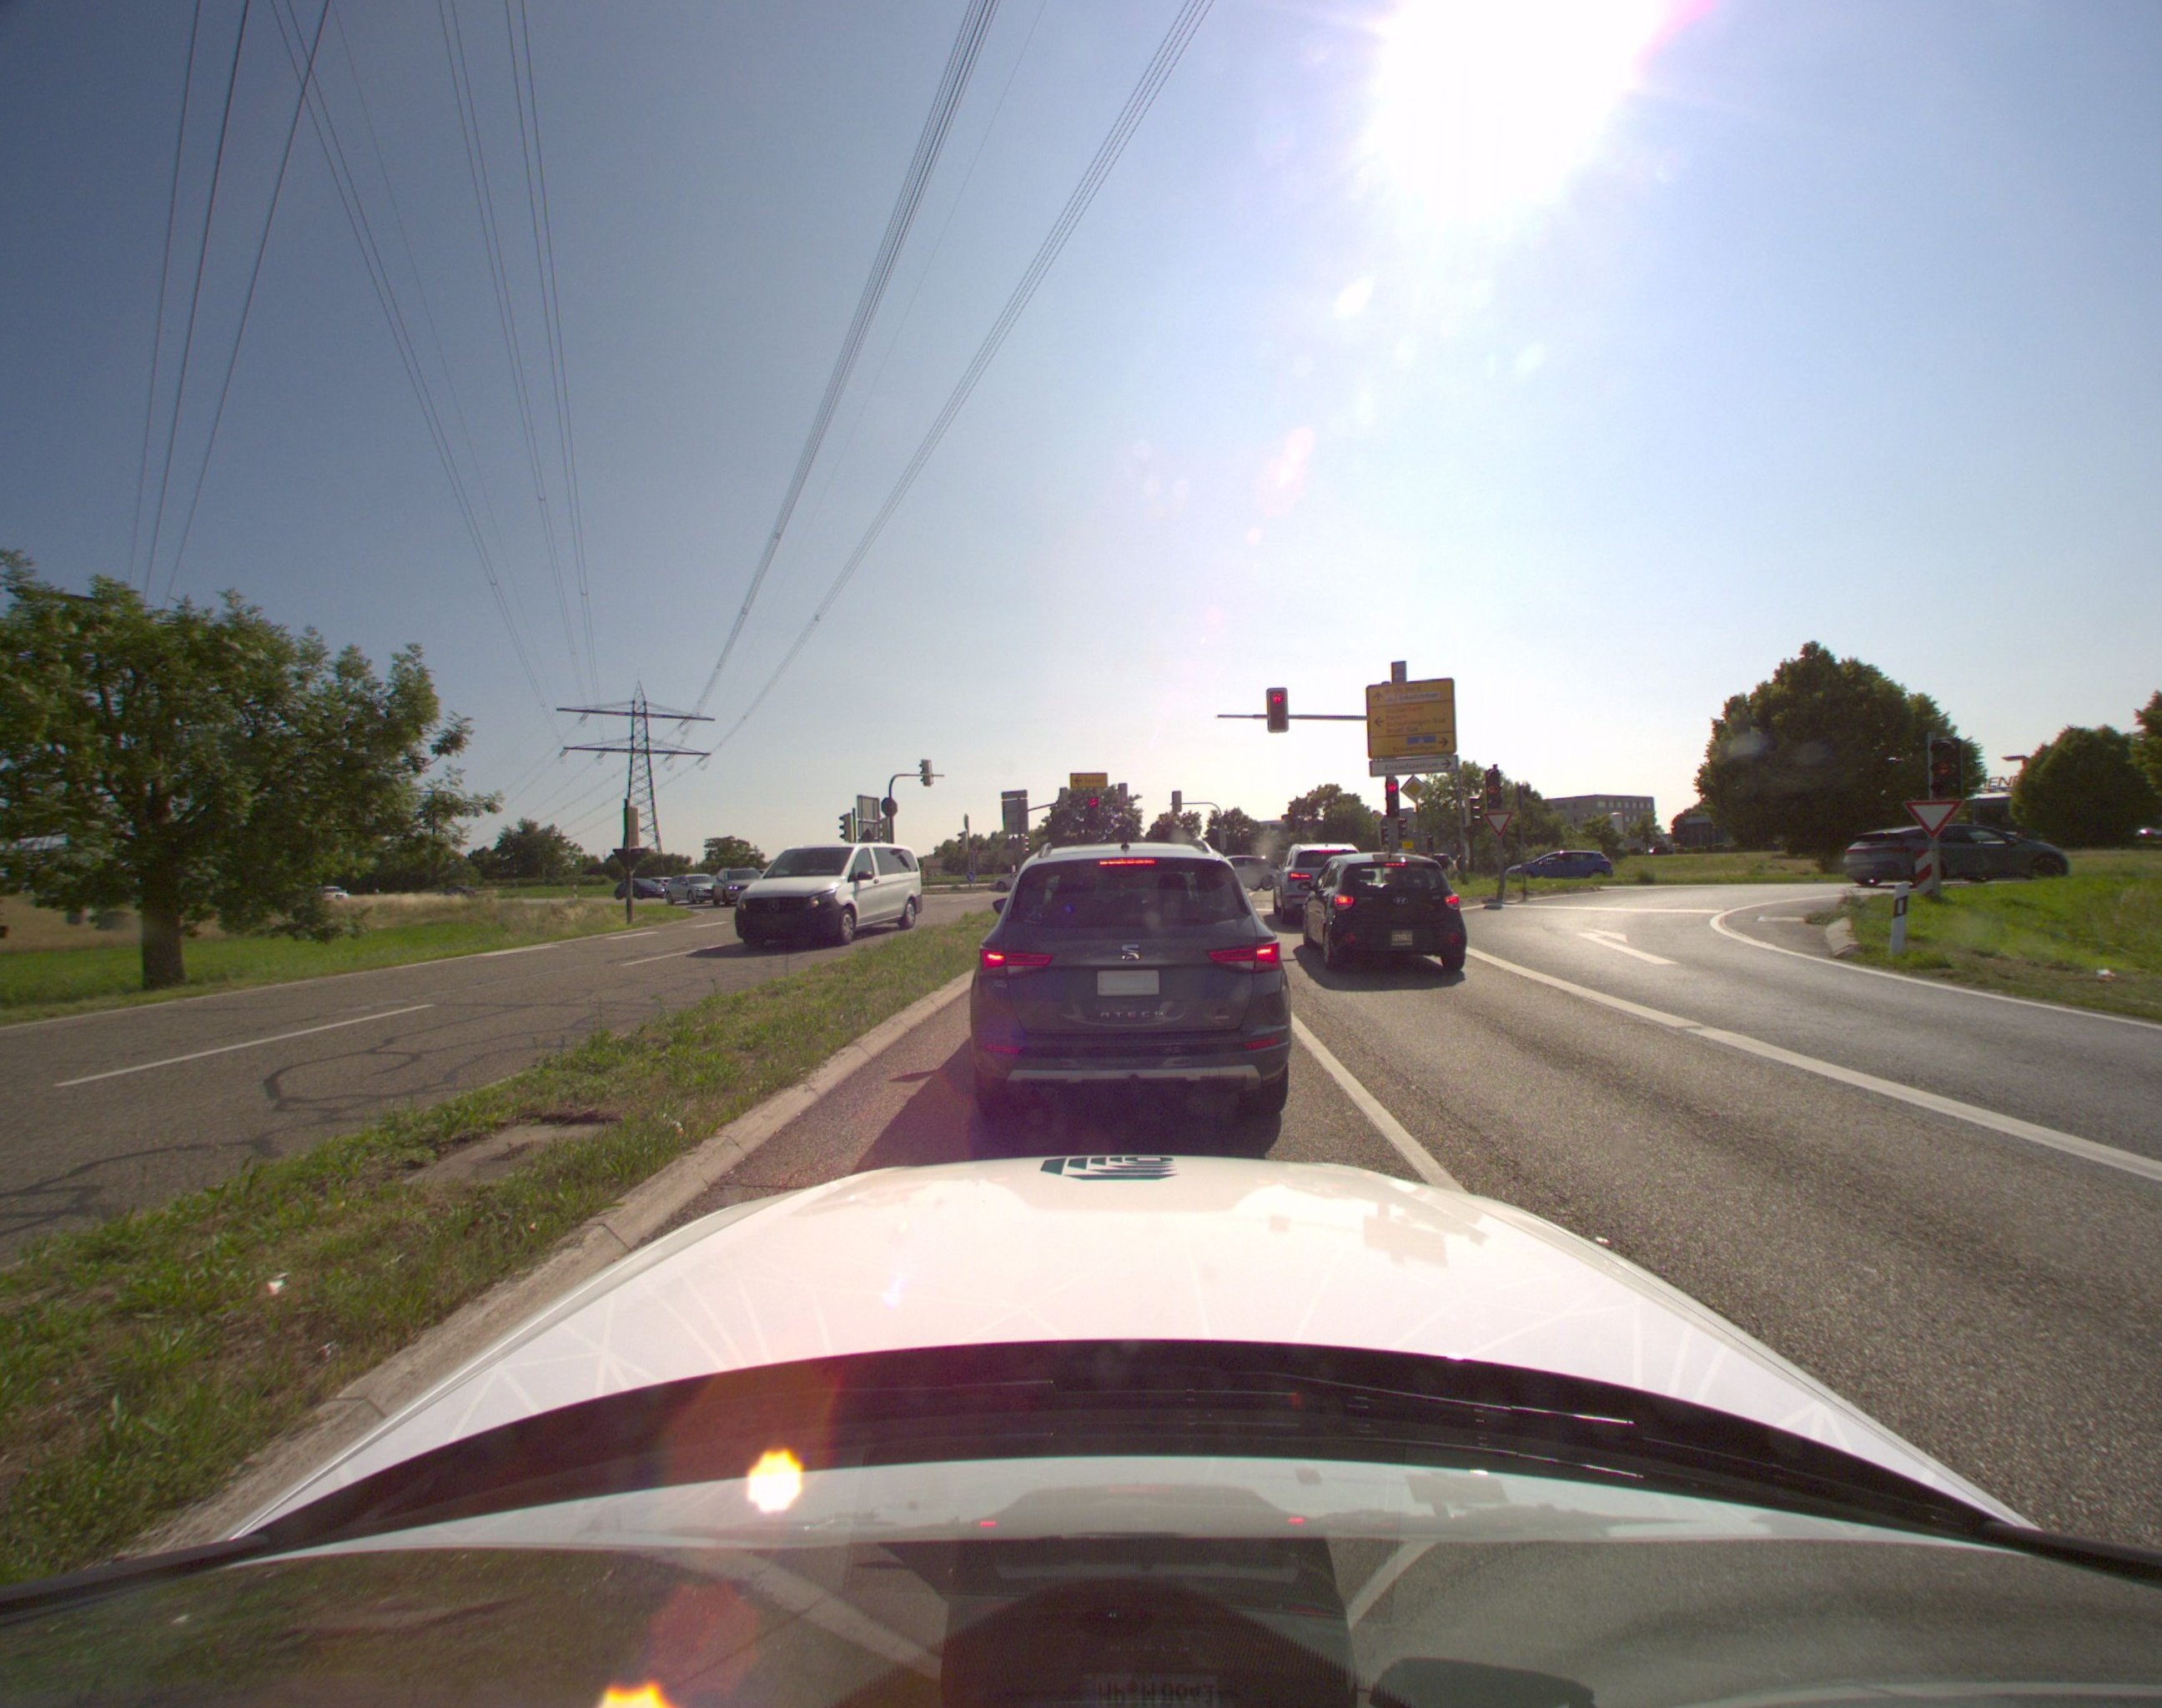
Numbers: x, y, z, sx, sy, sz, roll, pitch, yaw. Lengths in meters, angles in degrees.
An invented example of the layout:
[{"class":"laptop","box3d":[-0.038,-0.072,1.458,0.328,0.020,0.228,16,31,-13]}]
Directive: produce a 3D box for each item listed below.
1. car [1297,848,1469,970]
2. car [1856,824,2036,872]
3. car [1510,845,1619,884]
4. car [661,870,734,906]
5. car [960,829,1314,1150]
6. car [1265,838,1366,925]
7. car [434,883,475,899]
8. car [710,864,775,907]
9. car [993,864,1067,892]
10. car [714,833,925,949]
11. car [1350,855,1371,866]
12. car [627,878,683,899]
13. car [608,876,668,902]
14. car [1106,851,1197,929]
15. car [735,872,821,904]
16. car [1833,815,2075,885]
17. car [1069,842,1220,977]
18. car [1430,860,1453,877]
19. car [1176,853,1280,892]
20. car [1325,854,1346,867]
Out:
[{"class":"car","box3d":[4.057,0.665,11.429,1.623,1.448,3.303,-1,0,9]},{"class":"car","box3d":[30.542,-0.185,28.935,3.986,1.519,1.818,-2,-1,27]},{"class":"car","box3d":[20.437,0.467,34.597,3.831,1.519,1.818,-2,-1,27]},{"class":"car","box3d":[-19.008,1.668,40.279,3.949,1.651,1.831,-2,-1,42]},{"class":"car","box3d":[0.329,0.682,5.817,1.735,1.569,3.625,0,-1,2]},{"class":"car","box3d":[4.971,0.554,17.657,1.623,1.677,3.759,-1,0,9]},{"class":"car","box3d":[-62.381,3.681,81.101,4.051,1.416,1.727,-2,-1,28]},{"class":"car","box3d":[-14.579,1.330,34.944,1.827,1.651,3.958,-1,-1,-34]},{"class":"car","box3d":[-2.983,1.410,47.434,3.831,1.519,1.818,-2,-1,27]},{"class":"car","box3d":[-4.847,0.602,16.043,1.982,1.918,4.959,-1,0,8]},{"class":"car","box3d":[39.641,0.869,115.553,1.695,1.549,3.633,0,-1,39]},{"class":"car","box3d":[-33.867,2.714,64.713,4.280,1.519,1.818,-2,-1,27]},{"class":"car","box3d":[-30.763,2.417,56.568,3.949,1.651,1.831,-2,-1,29]},{"class":"car","box3d":[1.580,0.698,17.381,1.732,1.484,3.631,0,-1,7]},{"class":"car","box3d":[-16.725,1.885,44.904,4.700,1.651,1.831,-2,-1,29]},{"class":"car","box3d":[22.050,-0.078,20.703,4.068,1.517,1.780,-3,-1,3]},{"class":"car","box3d":[0.826,0.663,11.274,1.735,1.569,3.626,0,-1,3]},{"class":"car","box3d":[35.877,1.410,81.092,1.859,1.673,3.792,0,-1,27]},{"class":"car","box3d":[6.091,0.747,33.920,3.896,1.465,1.719,-1,-1,-7]},{"class":"car","box3d":[30.883,0.752,98.684,1.695,1.549,3.633,0,-1,29]}]
